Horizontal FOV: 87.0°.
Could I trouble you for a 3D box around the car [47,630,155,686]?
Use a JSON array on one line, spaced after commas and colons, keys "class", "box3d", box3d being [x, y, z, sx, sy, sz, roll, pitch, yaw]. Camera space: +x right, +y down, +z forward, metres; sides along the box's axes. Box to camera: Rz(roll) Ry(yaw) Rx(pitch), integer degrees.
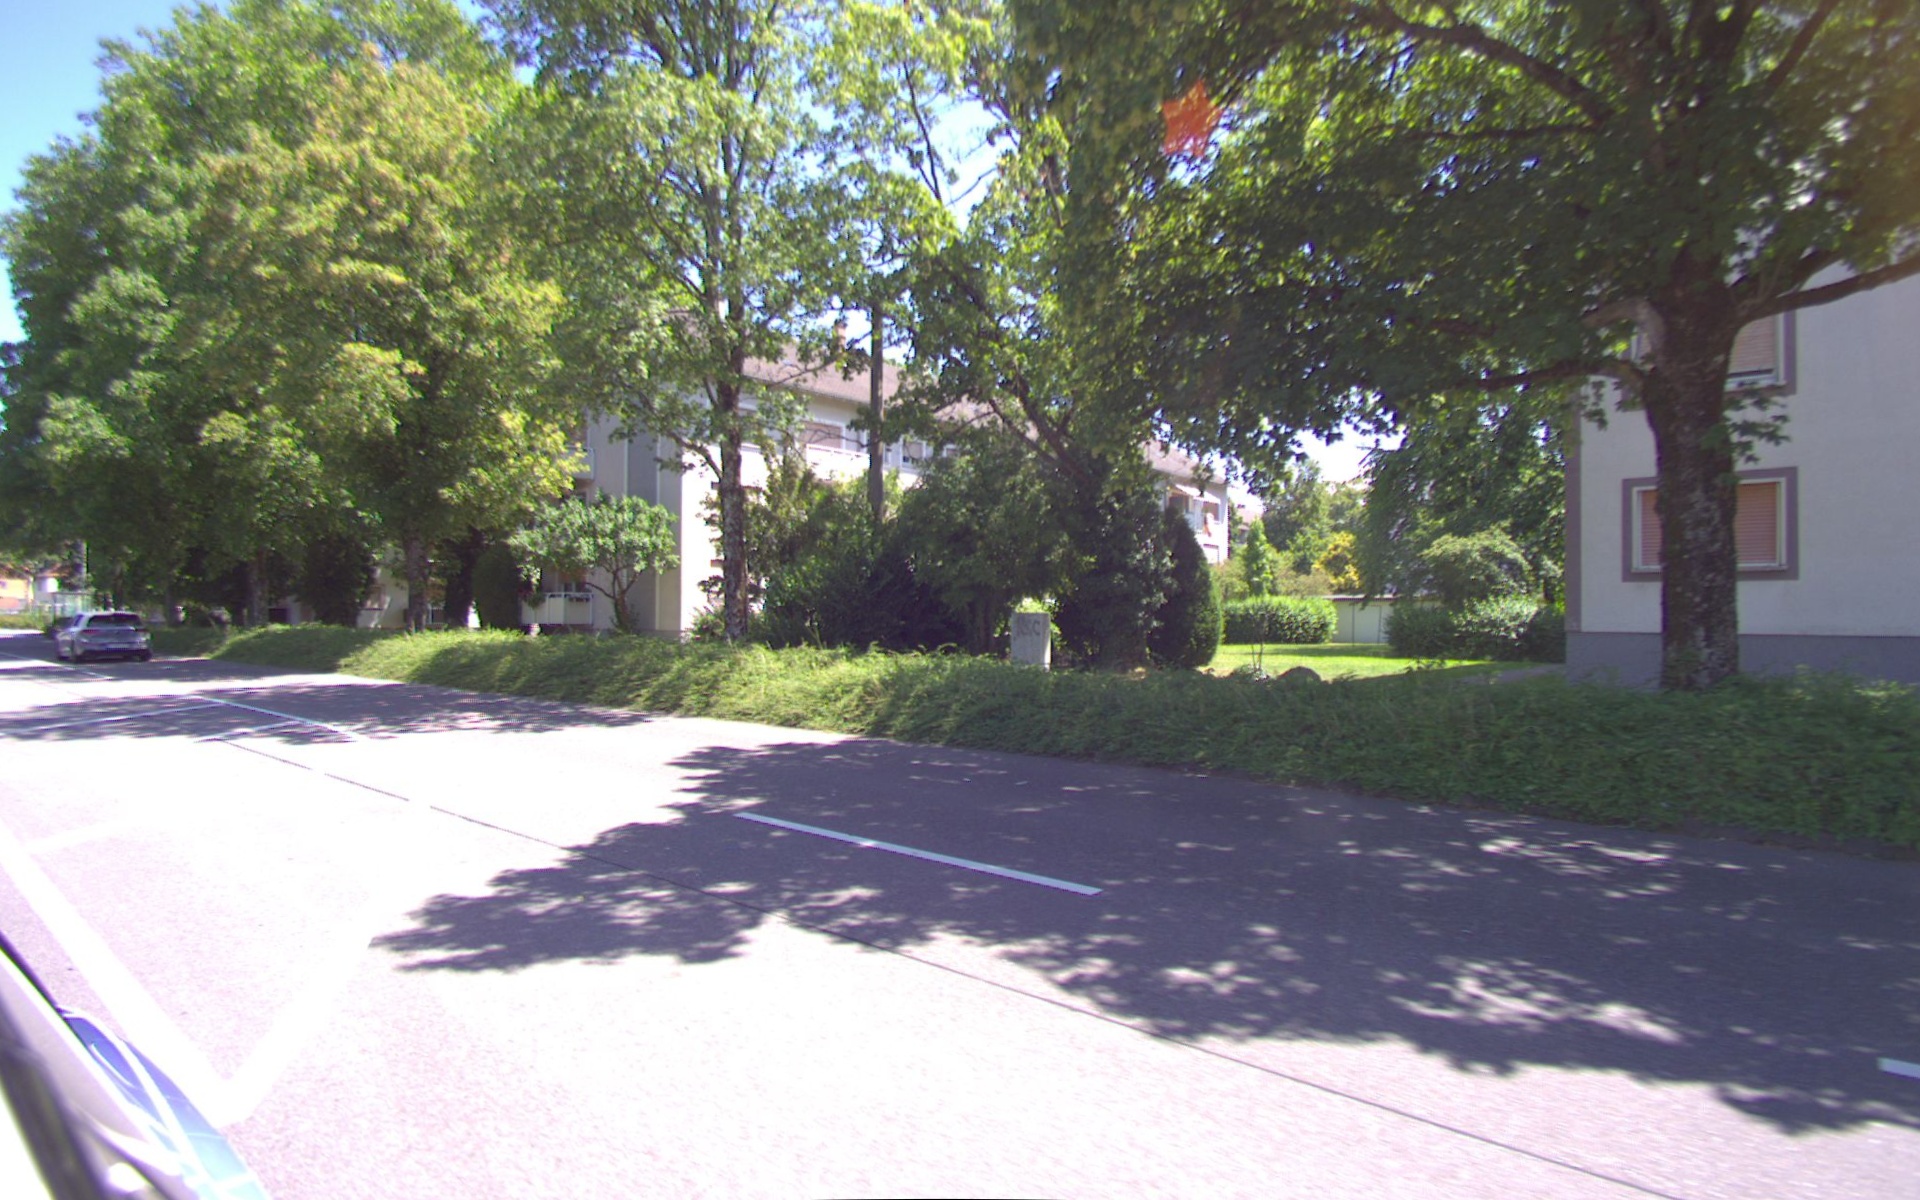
[{"class": "car", "box3d": [-24.879, 1.611, 29.268, 4.144, 1.438, 1.704, -1, 0, 40]}]
